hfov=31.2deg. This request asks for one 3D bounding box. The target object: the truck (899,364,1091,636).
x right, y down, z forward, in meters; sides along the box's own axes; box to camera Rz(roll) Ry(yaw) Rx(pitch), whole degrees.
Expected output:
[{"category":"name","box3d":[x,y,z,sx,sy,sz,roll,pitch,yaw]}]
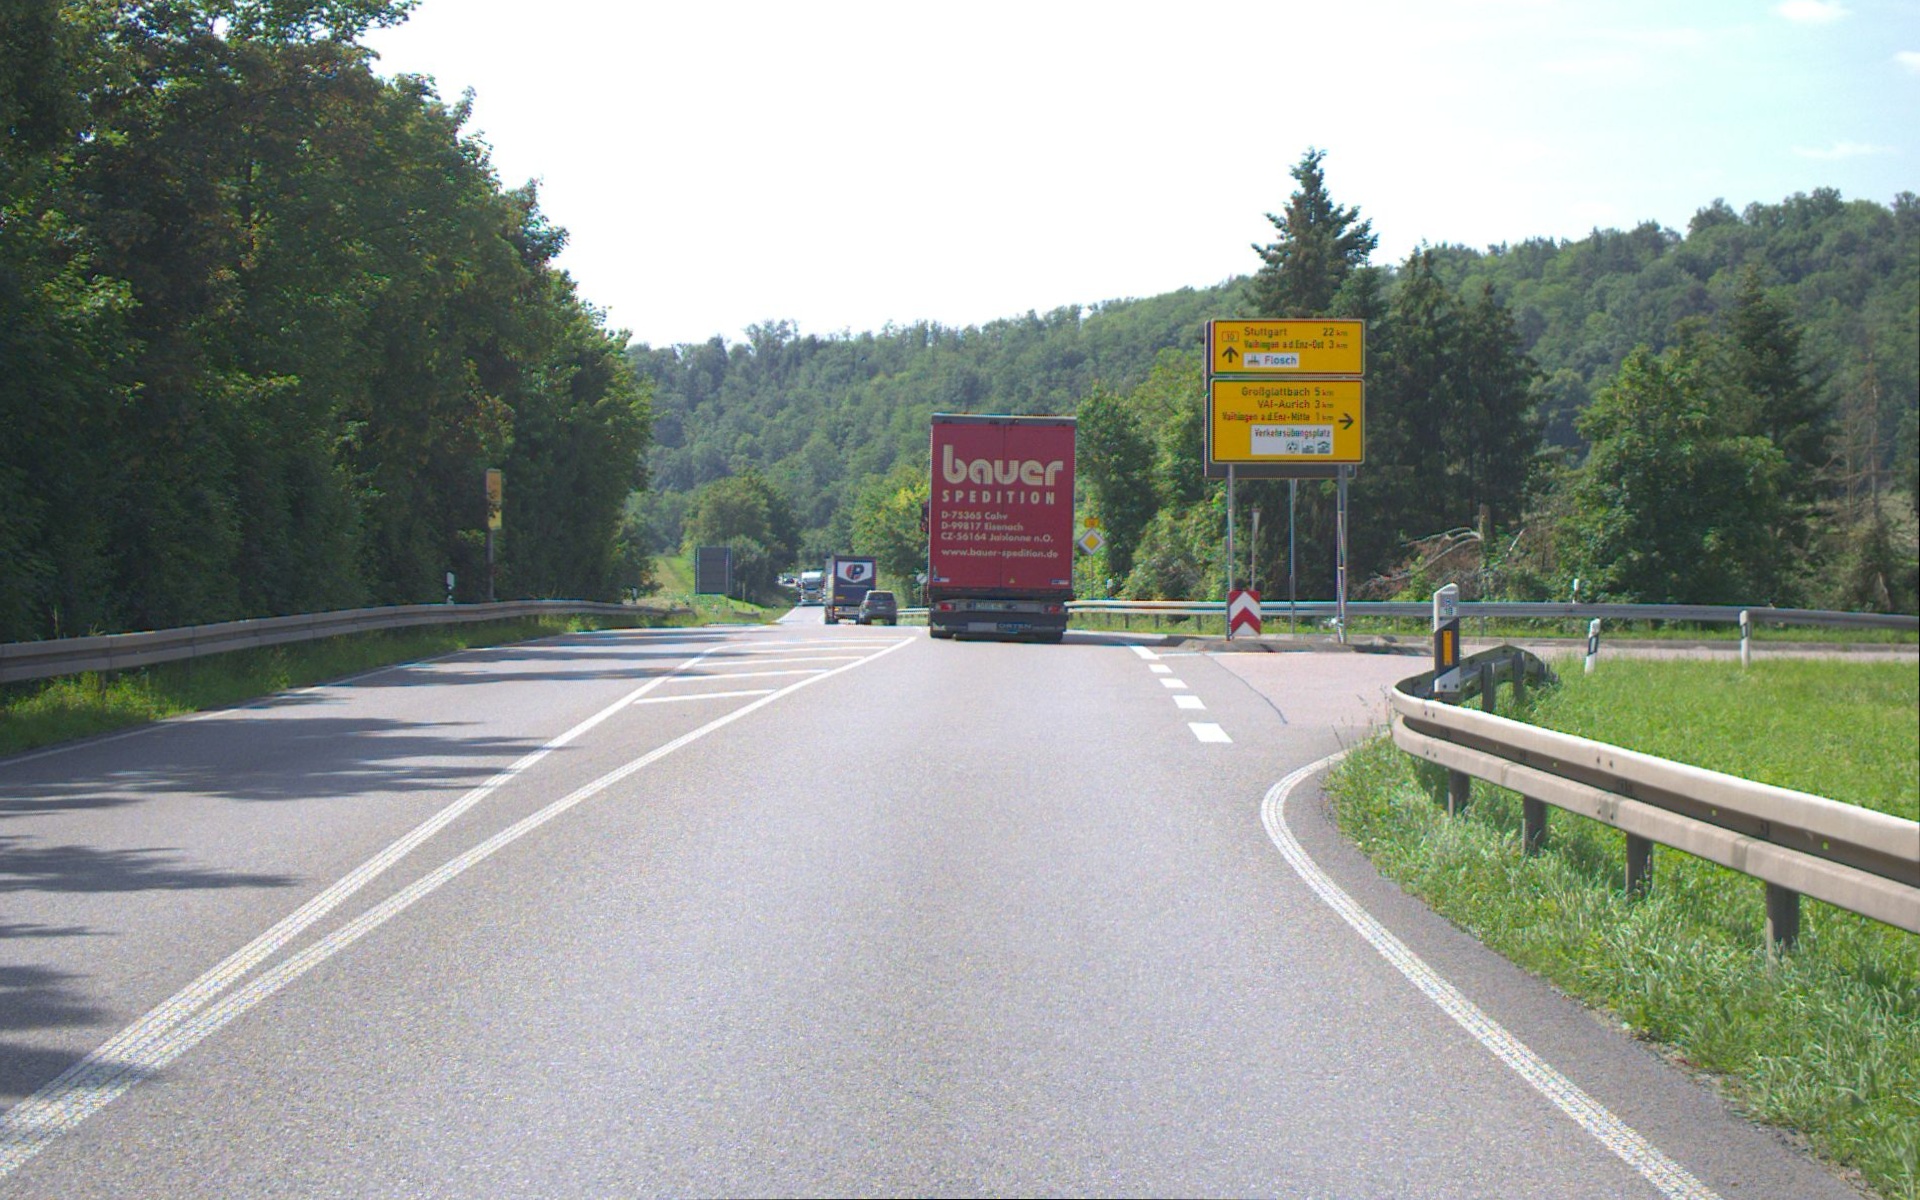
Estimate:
[{"category":"truck","box3d":[0.528,-1.821,66.494,3.172,4.609,13.544,2,1,-1]}]

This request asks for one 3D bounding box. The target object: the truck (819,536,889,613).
[{"category":"truck","box3d":[-6.654,-1.498,213.364,3.904,4.355,13.293,3,-1,-3]}]

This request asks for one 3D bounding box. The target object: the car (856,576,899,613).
[{"category":"car","box3d":[-4.382,-0.302,182.271,1.993,1.804,4.000,4,-1,-3]}]
